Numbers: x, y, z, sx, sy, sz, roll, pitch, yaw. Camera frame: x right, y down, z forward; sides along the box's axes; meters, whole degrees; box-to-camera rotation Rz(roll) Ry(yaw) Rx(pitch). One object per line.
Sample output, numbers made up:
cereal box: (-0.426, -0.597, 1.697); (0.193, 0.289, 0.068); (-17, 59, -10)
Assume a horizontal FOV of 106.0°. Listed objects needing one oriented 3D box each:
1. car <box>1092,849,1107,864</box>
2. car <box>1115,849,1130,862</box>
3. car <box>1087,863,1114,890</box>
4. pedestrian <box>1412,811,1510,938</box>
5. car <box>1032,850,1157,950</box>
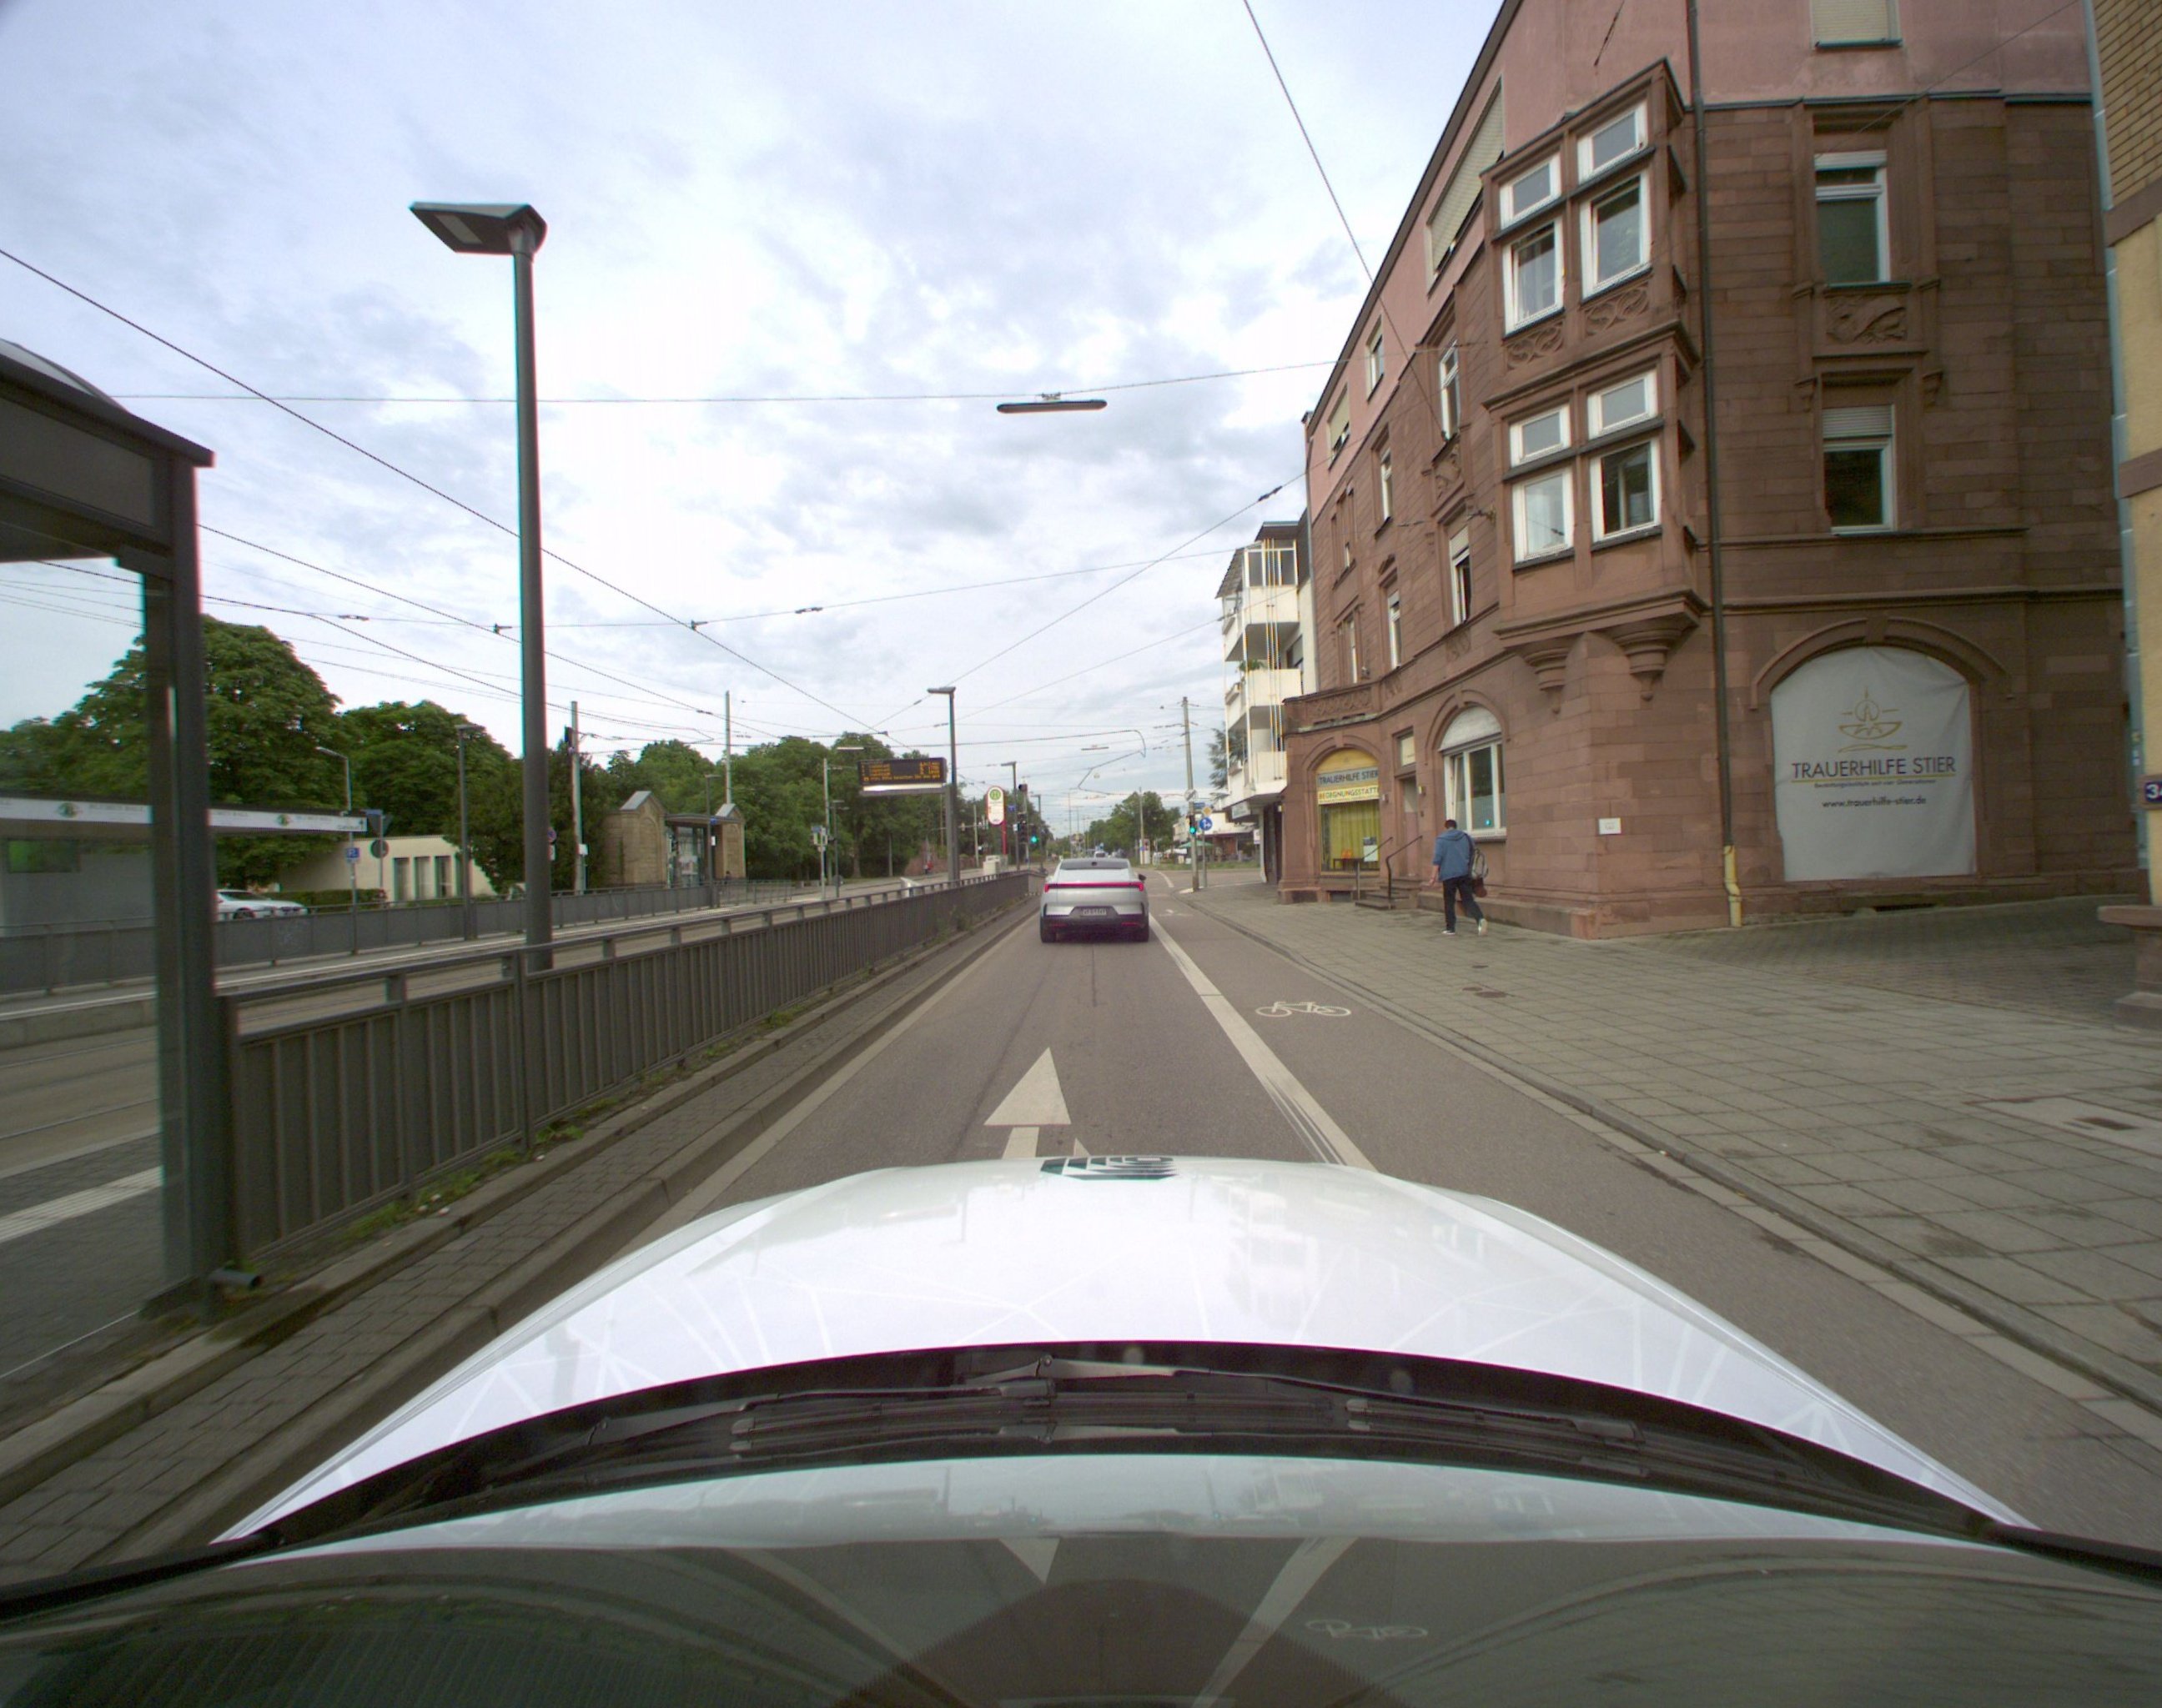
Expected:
car: (3.004, 0.382, 134.609); (2.220, 2.402, 5.119); (-1, -1, -2)
car: (8.035, 0.360, 158.196); (2.797, 2.505, 5.724); (-2, -1, 2)
car: (1.279, 1.437, 53.351); (1.675, 1.687, 3.825); (-2, -1, 2)
pedestrian: (5.917, 0.305, 12.738); (0.957, 1.850, 0.976); (-5, 0, 1)
car: (0.164, 0.772, 15.232); (1.994, 1.581, 3.997); (-1, -1, -2)
